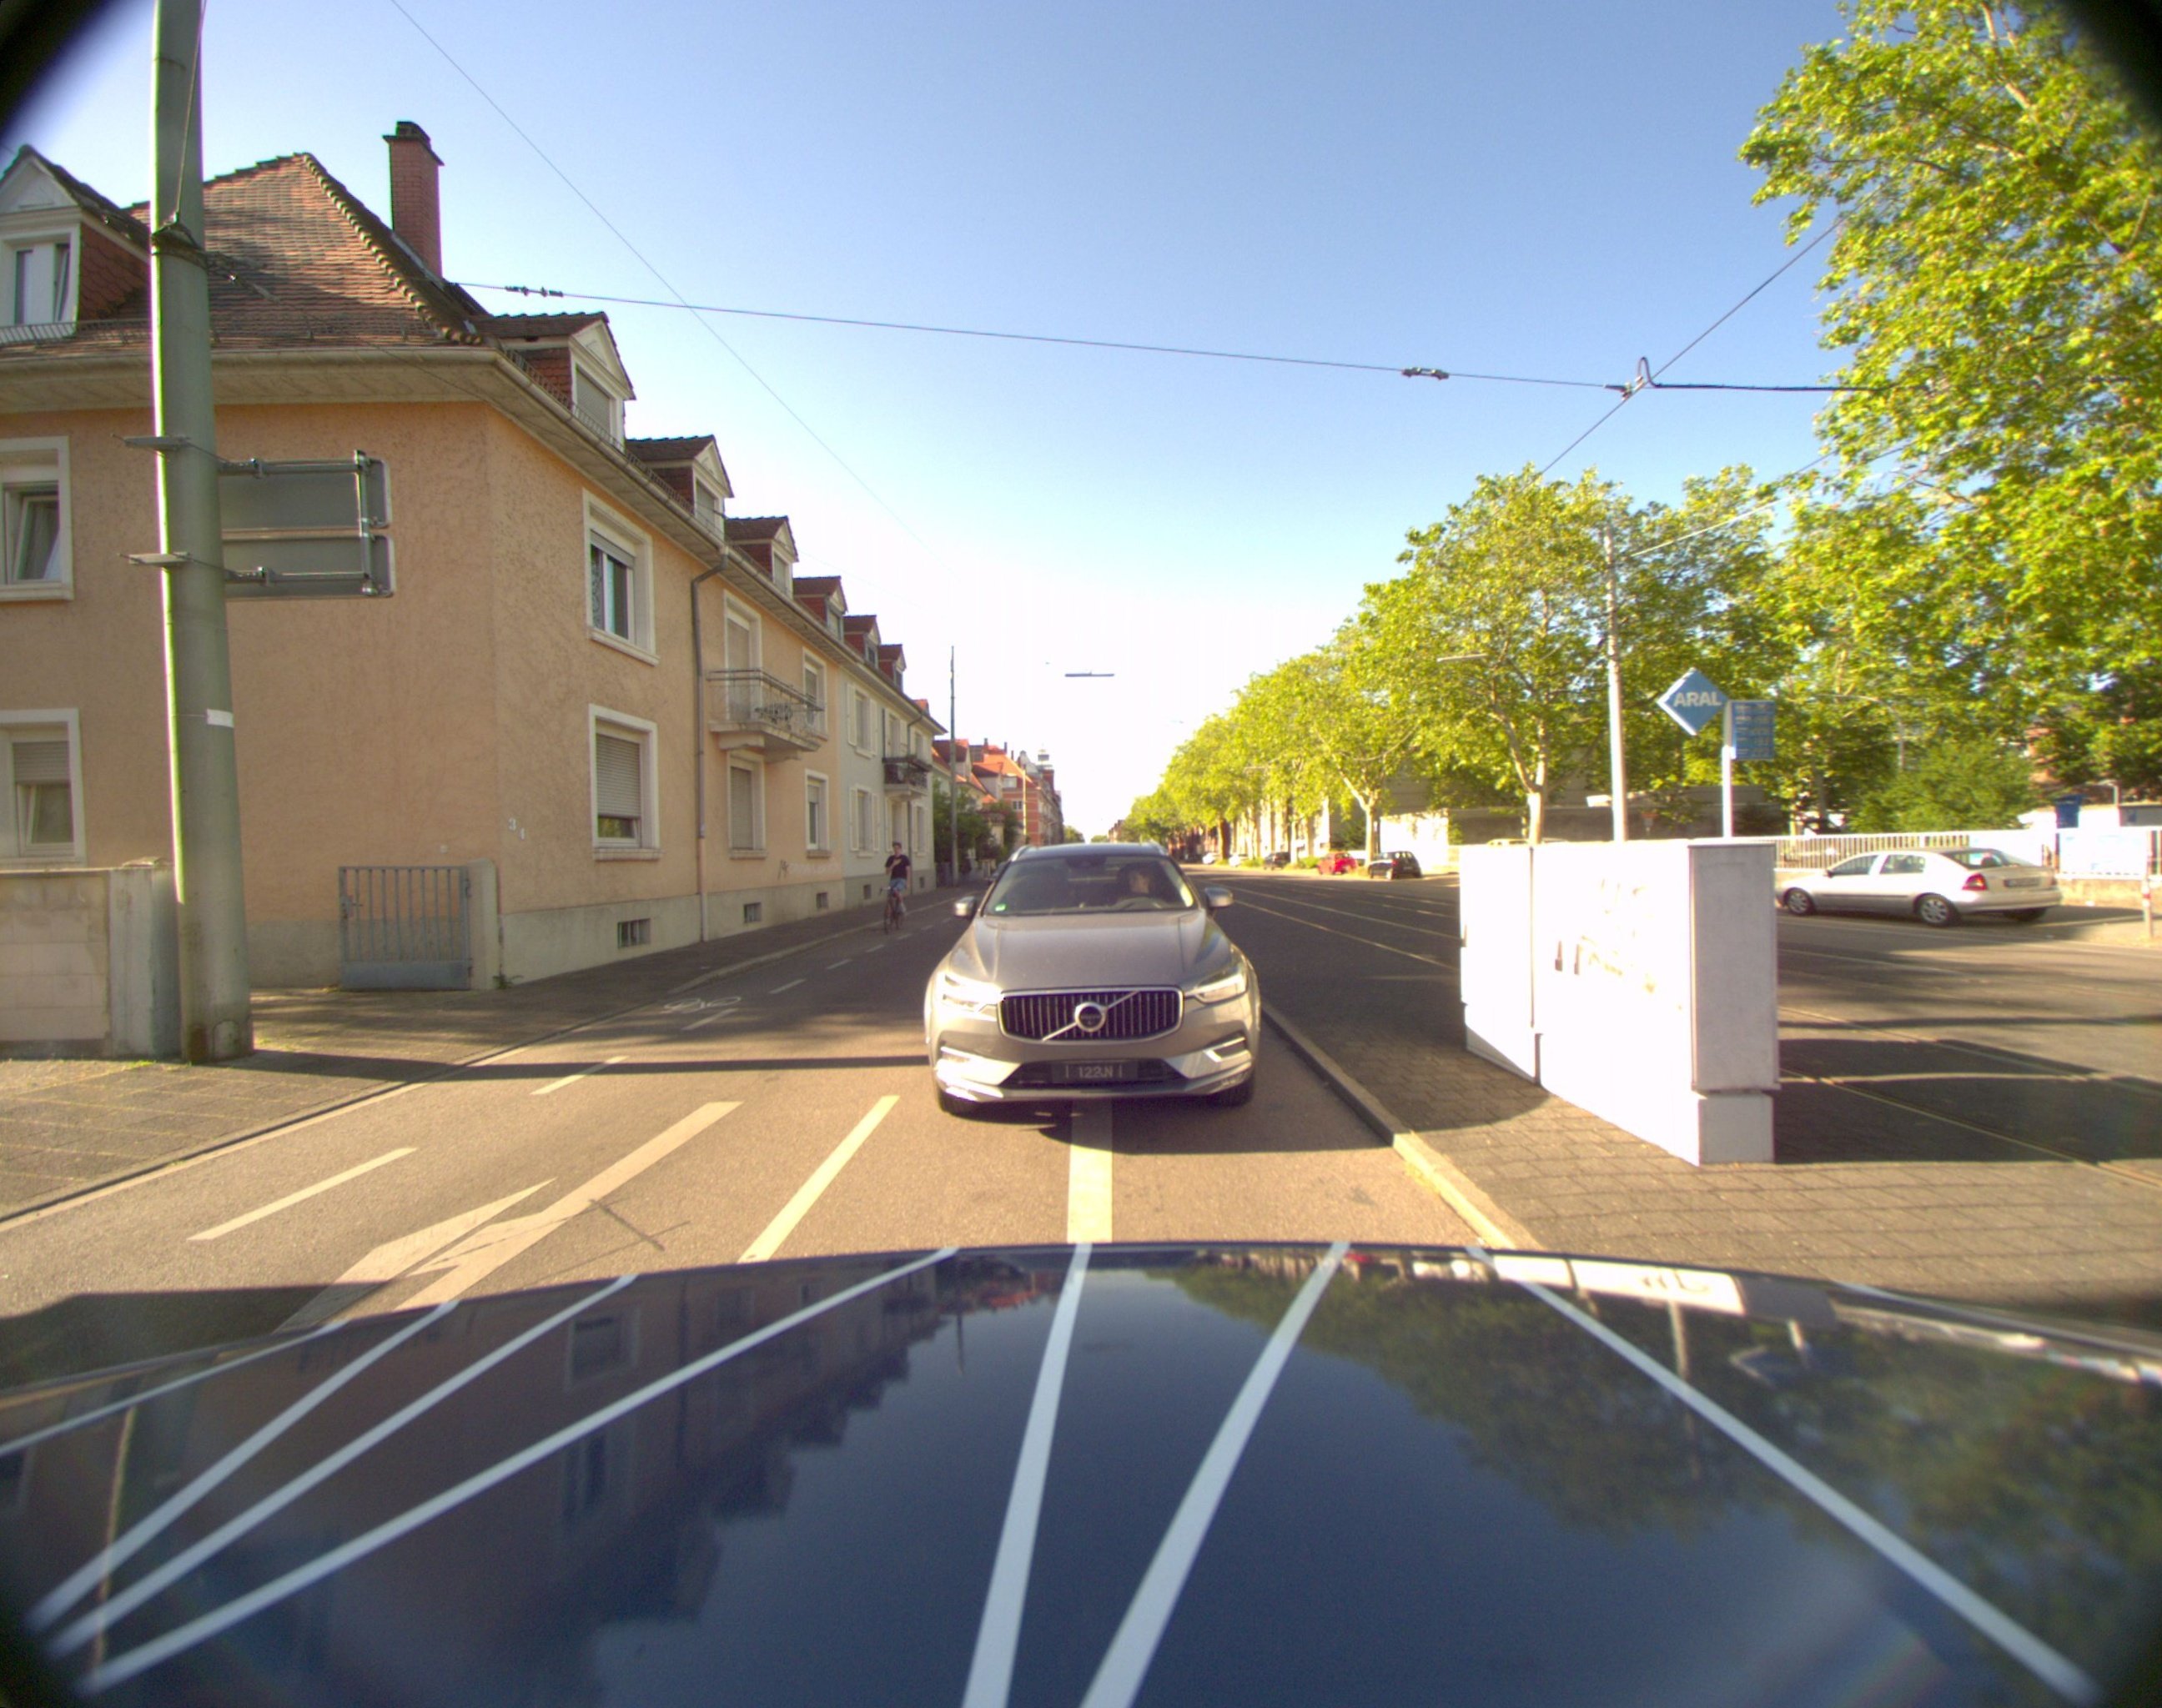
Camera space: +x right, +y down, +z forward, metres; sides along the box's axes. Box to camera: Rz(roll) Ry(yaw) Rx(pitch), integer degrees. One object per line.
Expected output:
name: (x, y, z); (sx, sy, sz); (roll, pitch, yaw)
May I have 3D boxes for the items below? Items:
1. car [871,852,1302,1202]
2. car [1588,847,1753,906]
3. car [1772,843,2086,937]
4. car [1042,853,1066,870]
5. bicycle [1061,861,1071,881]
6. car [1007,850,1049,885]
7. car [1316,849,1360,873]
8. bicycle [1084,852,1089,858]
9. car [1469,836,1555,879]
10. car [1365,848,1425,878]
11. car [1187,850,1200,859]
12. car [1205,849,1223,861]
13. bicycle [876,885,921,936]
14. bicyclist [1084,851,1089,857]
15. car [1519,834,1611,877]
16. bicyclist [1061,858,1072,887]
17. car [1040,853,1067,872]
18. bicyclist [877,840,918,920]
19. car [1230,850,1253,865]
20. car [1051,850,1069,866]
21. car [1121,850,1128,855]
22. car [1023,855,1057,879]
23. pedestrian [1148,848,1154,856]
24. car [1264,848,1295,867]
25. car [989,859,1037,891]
car: (0.058, 0.815, 5.931); (1.998, 1.609, 4.697); (-1, 0, 1)
car: (16.480, 0.569, 21.515); (1.745, 1.389, 3.858); (-4, 0, 3)
car: (16.240, 0.608, 14.908); (1.847, 1.477, 3.858); (-4, 0, 2)
car: (-2.352, 0.619, 66.362); (1.867, 1.399, 4.078); (-1, 0, 1)
bicycle: (-0.849, 0.979, 43.514); (0.550, 1.056, 1.794); (-1, 1, -1)
car: (-2.912, 0.700, 42.831); (1.867, 1.778, 5.297); (-1, 0, 1)
car: (16.906, 0.451, 50.184); (1.717, 1.421, 3.858); (-3, 0, 3)
bicycle: (1.259, 0.291, 172.240); (1.054, 1.262, 3.914); (-1, 0, 1)
car: (21.813, 0.169, 38.641); (1.999, 2.002, 3.999); (-1, 0, -1)
car: (16.893, 0.458, 41.042); (1.758, 1.449, 3.858); (-3, 0, 3)
car: (18.508, 0.057, 125.294); (1.758, 1.475, 3.858); (-3, 0, 3)
car: (17.673, 0.164, 100.937); (1.758, 1.475, 3.858); (-3, 0, 3)
bicycle: (-4.081, 1.244, 17.080); (0.533, 1.011, 1.758); (-1, 0, 1)
bicyclist: (1.262, 0.005, 172.168); (1.054, 1.496, 1.250); (-1, 1, 1)
car: (24.161, 0.080, 38.101); (1.999, 2.002, 3.999); (-1, 0, -1)
bicyclist: (-0.839, 1.034, 43.443); (0.562, 1.607, 1.016); (-2, 1, 0)
car: (-2.131, 0.666, 60.057); (1.867, 1.399, 4.078); (-1, 0, 1)
bicyclist: (-4.102, 0.556, 17.065); (0.561, 1.721, 1.084); (-2, 1, 1)
car: (17.580, 0.355, 83.344); (1.758, 1.475, 3.858); (-3, 0, 3)
car: (-2.323, 0.430, 85.451); (1.867, 1.653, 4.078); (-1, 0, 1)
car: (14.047, -0.539, 243.833); (1.998, 1.685, 4.000); (-1, 0, 1)
car: (-2.576, 0.813, 48.498); (1.867, 1.399, 4.078); (-1, 0, 1)
pedestrian: (19.594, -0.546, 213.137); (1.686, 2.002, 1.761); (-1, 1, 1)
car: (17.174, 0.294, 65.916); (1.758, 1.536, 3.858); (-3, 0, 3)
car: (-3.234, 0.963, 37.076); (1.867, 1.399, 4.424); (-1, 0, 1)
